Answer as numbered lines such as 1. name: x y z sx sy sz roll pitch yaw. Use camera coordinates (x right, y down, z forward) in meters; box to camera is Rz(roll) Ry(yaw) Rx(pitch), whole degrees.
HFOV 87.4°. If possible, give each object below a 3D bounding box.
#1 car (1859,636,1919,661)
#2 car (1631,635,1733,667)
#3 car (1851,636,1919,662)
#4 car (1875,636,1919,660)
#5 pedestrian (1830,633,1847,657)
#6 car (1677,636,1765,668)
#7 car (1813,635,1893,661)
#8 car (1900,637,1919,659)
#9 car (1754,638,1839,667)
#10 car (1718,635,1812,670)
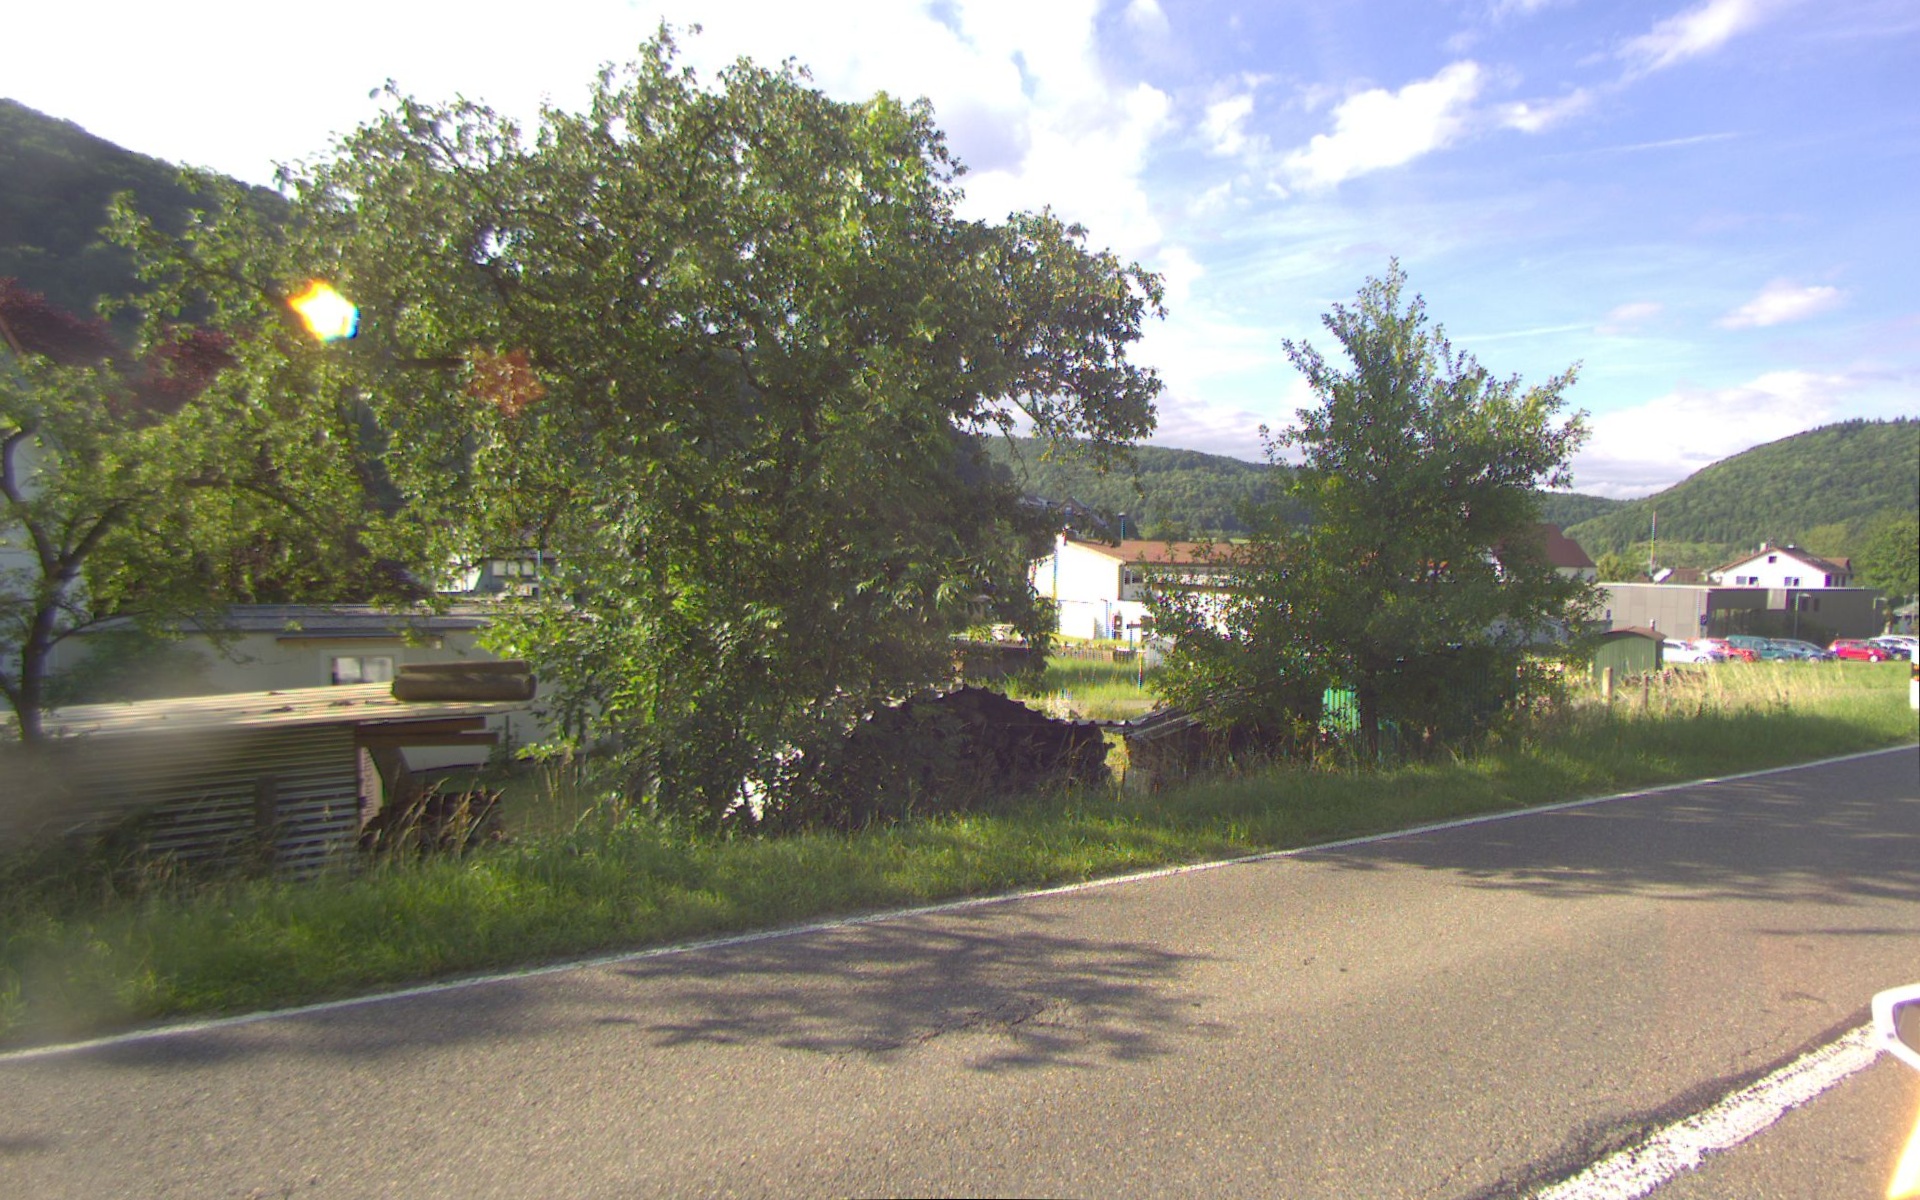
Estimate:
1. car: 71.857 3.700 77.023 1.980 1.733 3.962 2 0 -34
2. car: 44.475 3.115 61.961 1.980 1.733 4.701 2 0 -34
3. car: 69.076 3.602 74.641 1.980 1.733 3.962 2 0 -34
4. car: 74.630 3.791 78.711 1.980 1.733 3.962 2 0 -34
5. pedestrian: 75.148 3.875 85.956 0.963 2.040 0.820 2 0 -33
6. car: 47.325 3.201 62.539 1.980 1.733 3.962 2 0 -34
7. car: 64.820 3.468 72.935 1.980 1.733 3.962 2 0 -34
8. car: 79.454 3.953 81.788 1.980 1.733 3.962 2 0 -34
9. car: 55.896 3.481 67.179 1.980 1.733 3.962 2 0 -34
10. car: 52.341 3.366 65.351 1.980 2.034 4.378 2 0 -34
